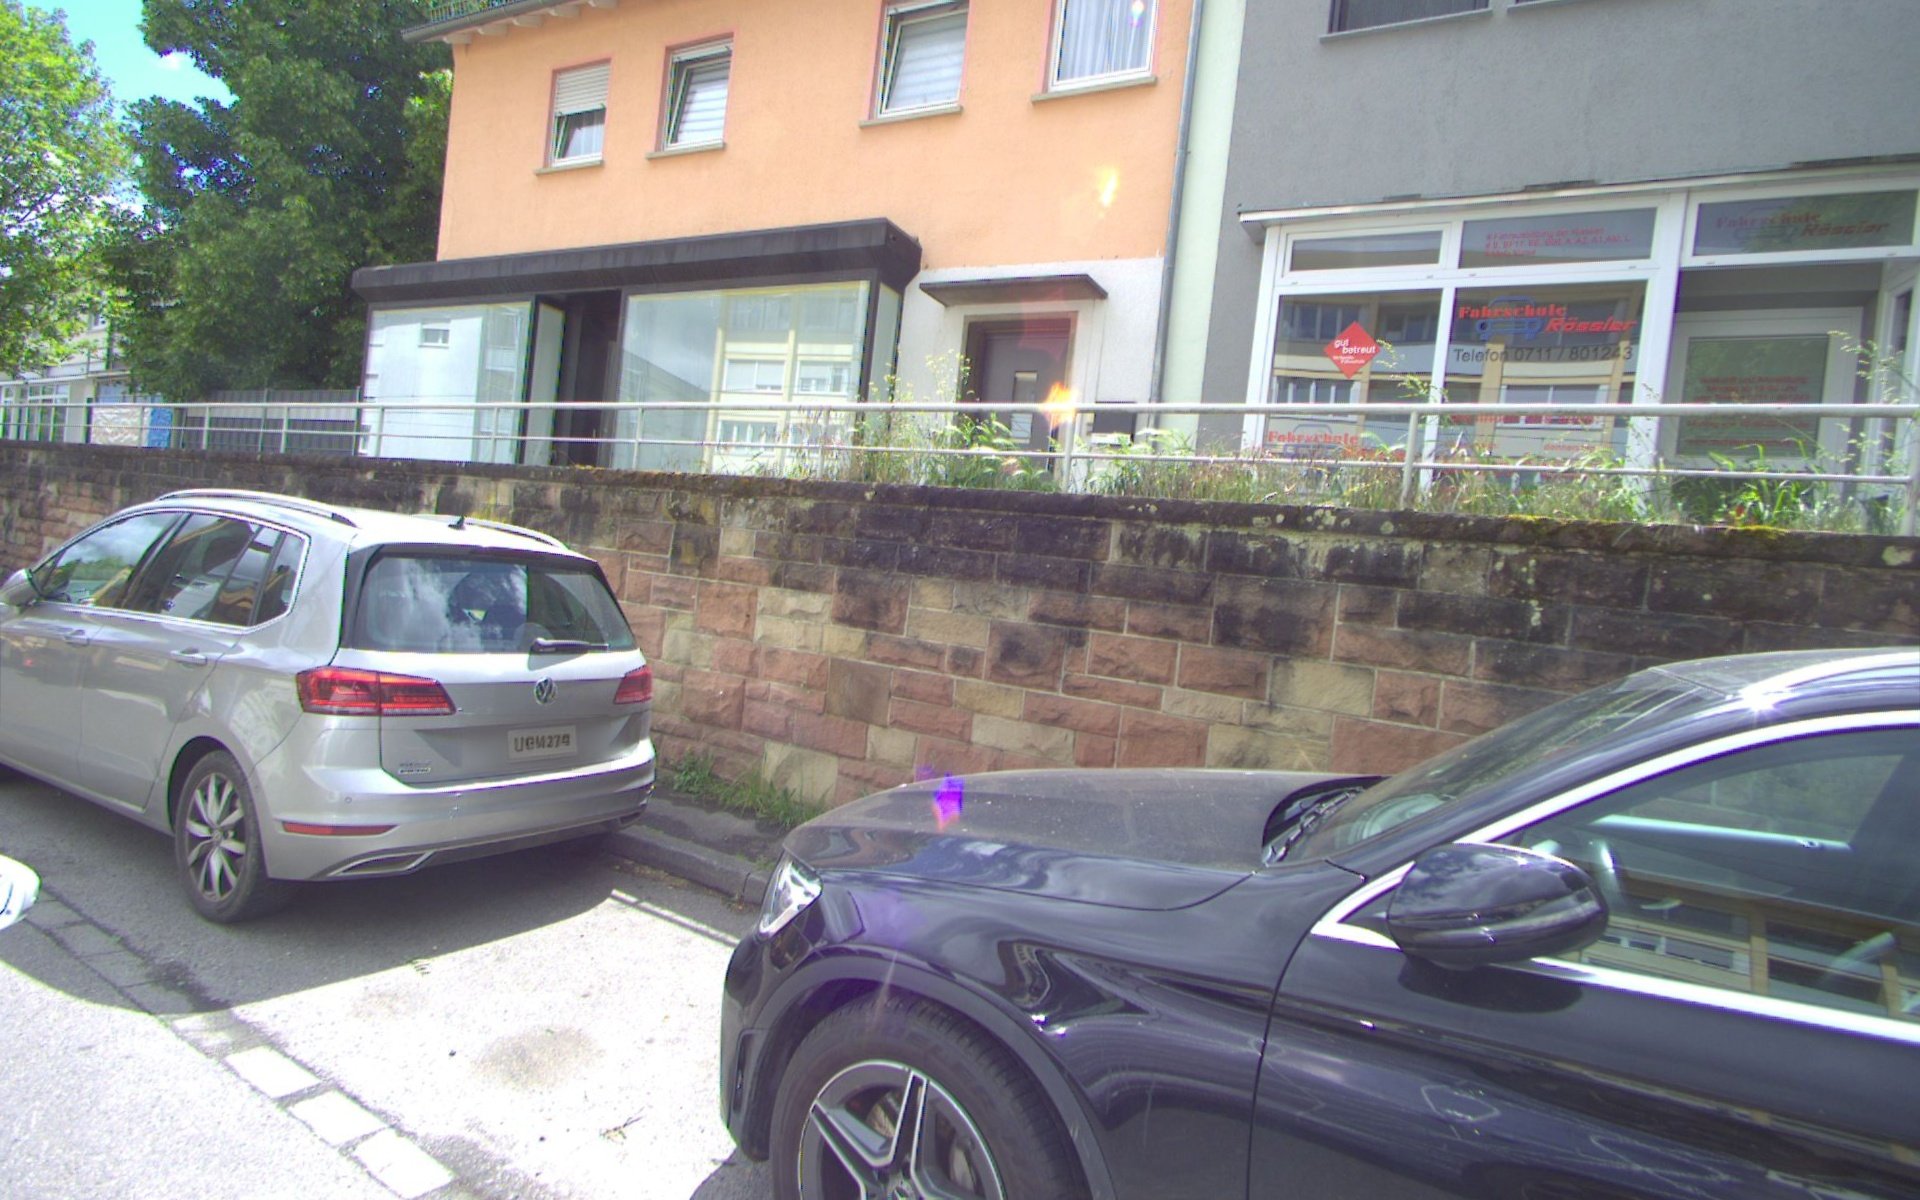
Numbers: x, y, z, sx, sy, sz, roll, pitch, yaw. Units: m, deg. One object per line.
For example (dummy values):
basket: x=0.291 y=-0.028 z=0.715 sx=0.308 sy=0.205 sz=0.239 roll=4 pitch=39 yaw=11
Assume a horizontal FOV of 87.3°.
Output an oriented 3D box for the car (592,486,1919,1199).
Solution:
car: x=1.552 y=0.818 z=1.905 sx=4.373 sy=1.639 sz=1.791 roll=7 pitch=2 yaw=31

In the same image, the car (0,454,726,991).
car: x=-3.405 y=0.266 z=5.031 sx=4.177 sy=1.638 sz=1.791 roll=7 pitch=1 yaw=31
